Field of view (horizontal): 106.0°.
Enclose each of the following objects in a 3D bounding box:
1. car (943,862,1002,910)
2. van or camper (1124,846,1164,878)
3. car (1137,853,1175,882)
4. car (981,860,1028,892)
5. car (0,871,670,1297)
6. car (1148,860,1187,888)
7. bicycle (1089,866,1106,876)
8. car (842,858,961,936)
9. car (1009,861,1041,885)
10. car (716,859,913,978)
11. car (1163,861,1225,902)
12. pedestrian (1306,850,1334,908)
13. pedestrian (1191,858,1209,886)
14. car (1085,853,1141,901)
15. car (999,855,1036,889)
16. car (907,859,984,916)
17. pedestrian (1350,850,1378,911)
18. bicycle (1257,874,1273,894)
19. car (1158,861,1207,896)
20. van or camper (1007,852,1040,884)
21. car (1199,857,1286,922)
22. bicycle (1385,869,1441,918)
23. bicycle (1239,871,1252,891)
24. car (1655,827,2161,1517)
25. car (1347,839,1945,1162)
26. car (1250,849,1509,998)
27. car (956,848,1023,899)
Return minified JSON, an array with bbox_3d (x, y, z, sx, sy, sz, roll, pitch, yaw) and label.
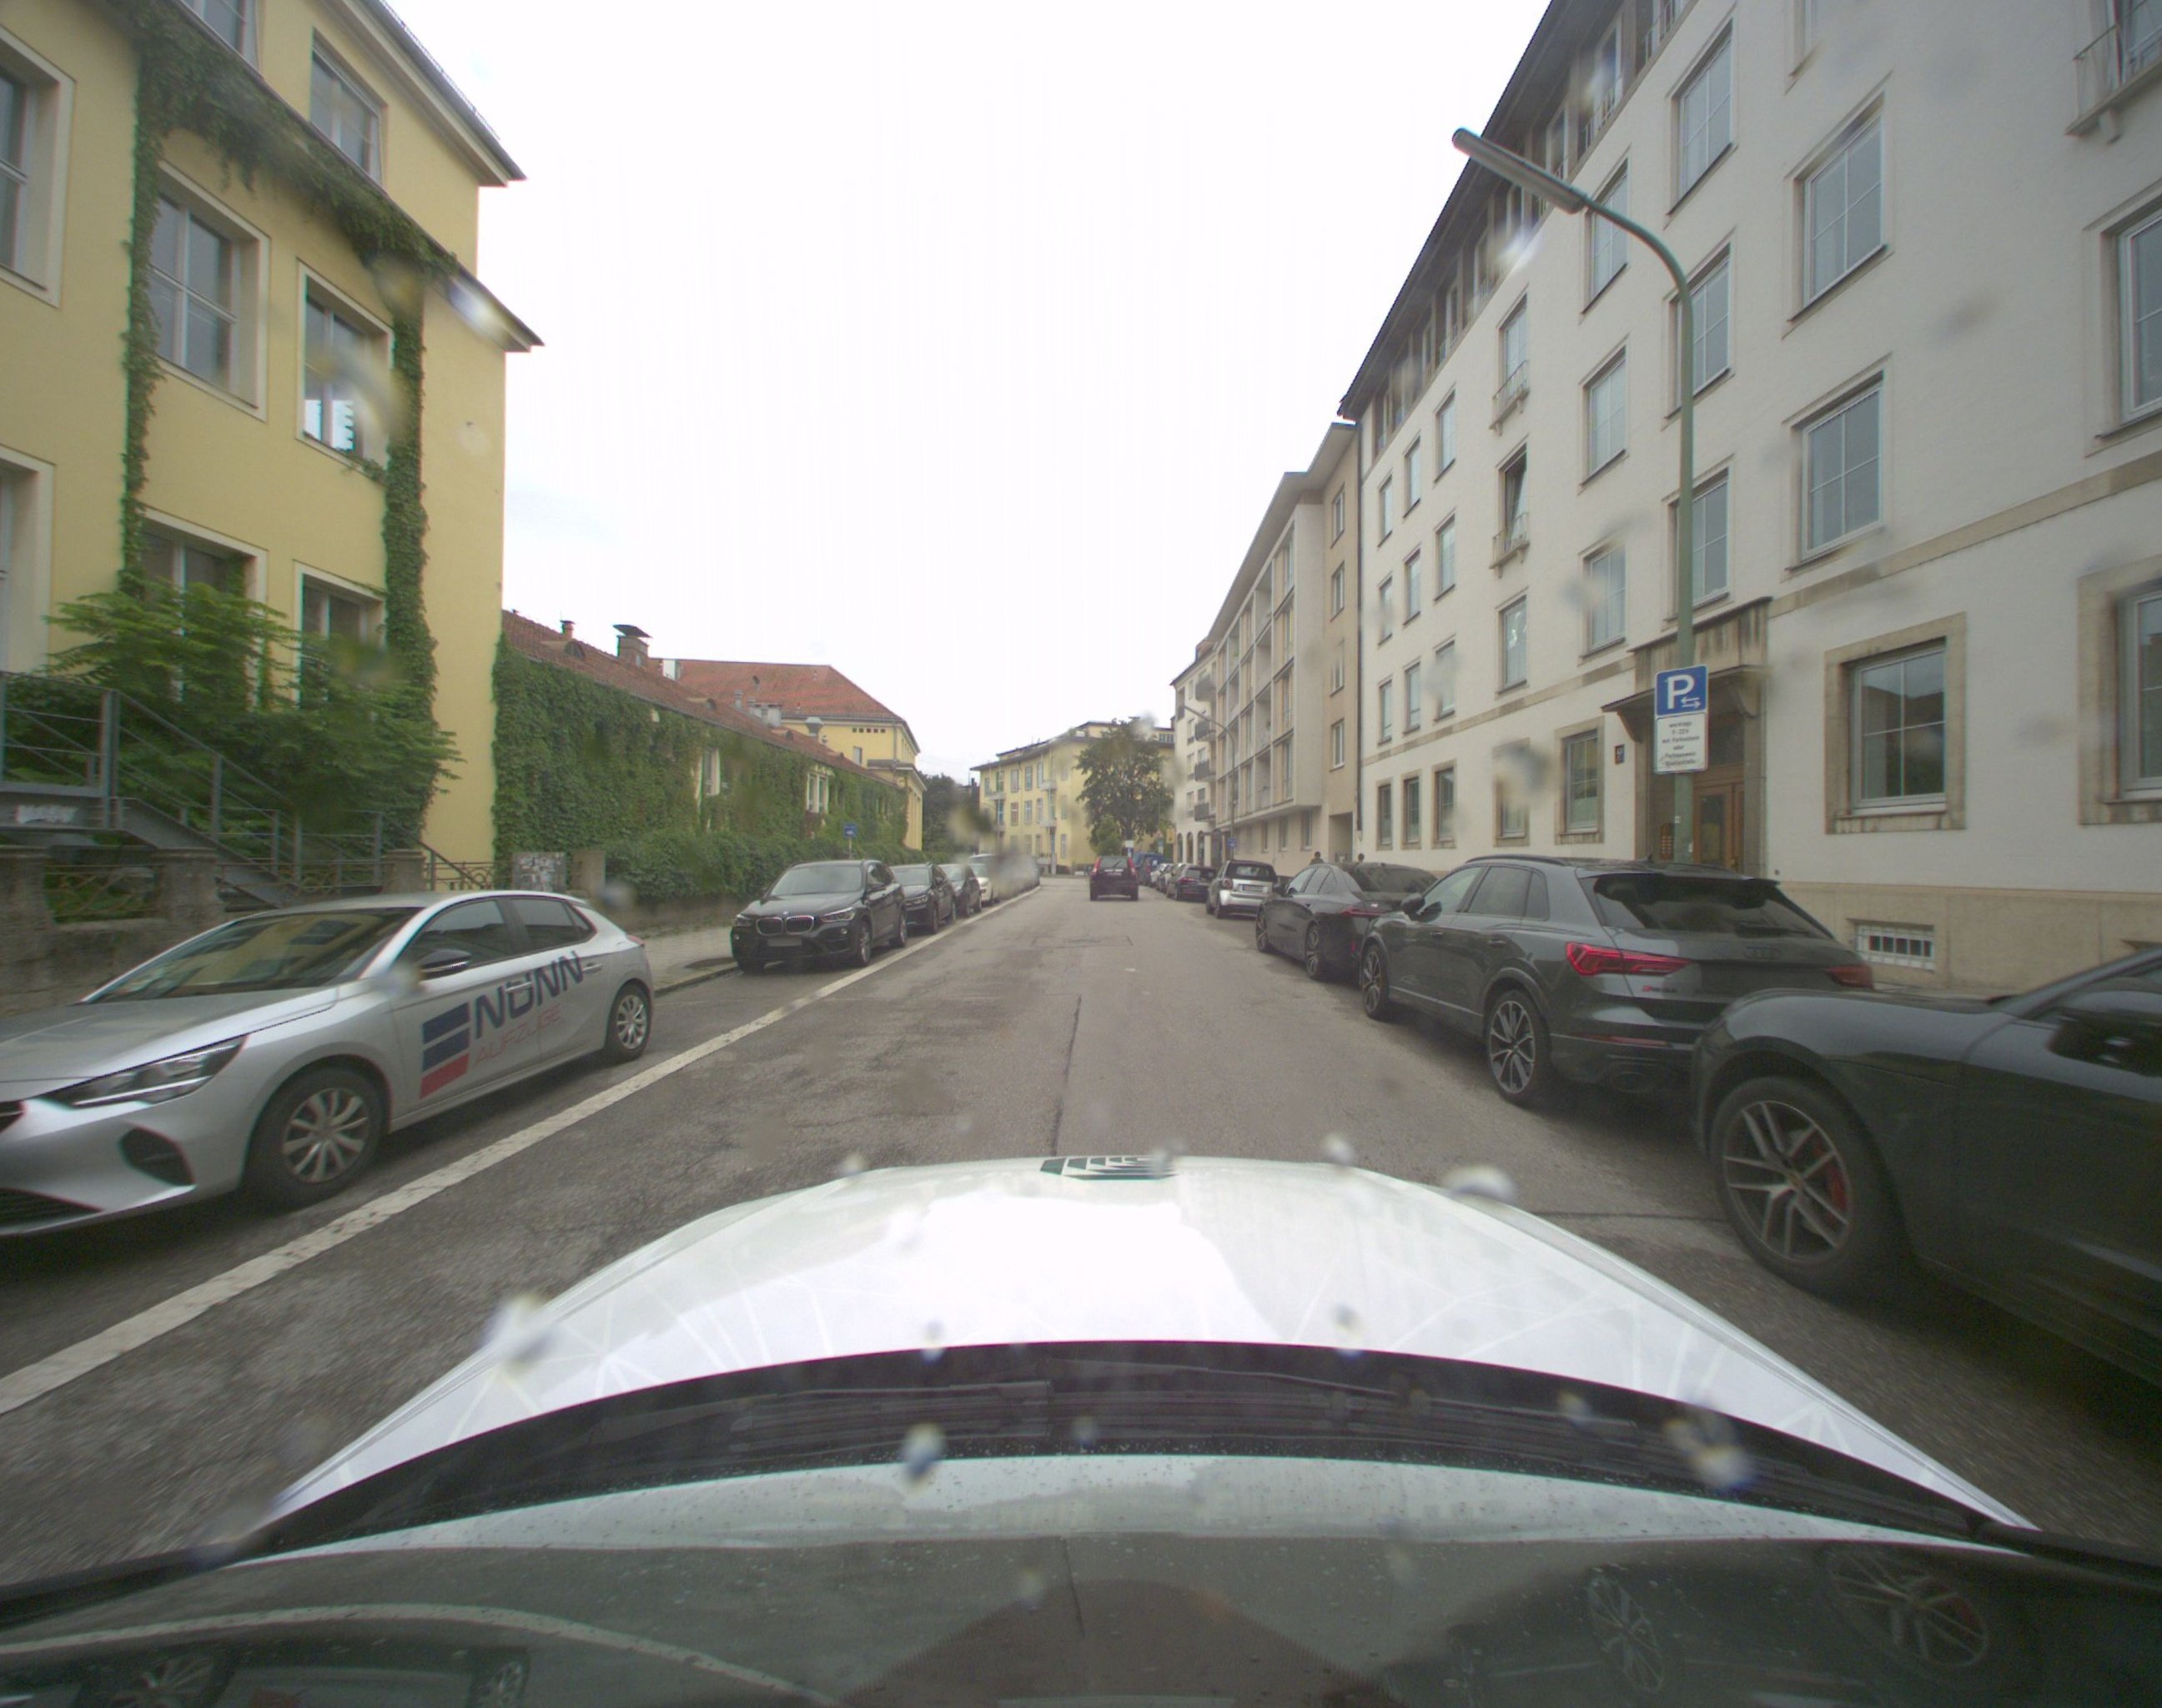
[{"bbox_3d":[-3.744,1.060,28.619,1.574,1.492,3.728,-2,0,-1],"label":"car"},{"bbox_3d":[4.581,0.586,59.771,2.057,2.231,5.429,-1,0,-5],"label":"van or camper"},{"bbox_3d":[4.928,0.839,53.954,1.959,1.816,4.933,0,0,-1],"label":"car"},{"bbox_3d":[-3.620,1.032,39.338,1.695,1.423,4.427,-1,0,2],"label":"car"},{"bbox_3d":[-4.322,0.901,4.845,1.674,1.426,3.894,-4,0,0],"label":"car"},{"bbox_3d":[5.093,1.133,48.443,1.734,1.537,4.271,-1,0,-1],"label":"car"},{"bbox_3d":[1.958,2.036,97.337,2.189,1.117,0.614,0,-1,42],"label":"bicycle"},{"bbox_3d":[-3.882,0.868,18.315,1.776,1.538,4.147,-1,0,-1],"label":"car"},{"bbox_3d":[-3.415,1.144,50.140,1.614,1.378,4.071,-1,0,0],"label":"car"},{"bbox_3d":[-4.000,0.882,13.017,1.776,1.538,4.193,-1,0,-1],"label":"car"},{"bbox_3d":[4.431,1.034,32.505,1.790,1.420,4.481,3,0,0],"label":"car"},{"bbox_3d":[6.917,0.720,23.577,0.594,1.654,0.630,-1,-1,1],"label":"pedestrian"},{"bbox_3d":[7.224,1.088,49.620,0.895,1.688,1.319,0,-1,0],"label":"pedestrian"},{"bbox_3d":[1.304,0.827,31.427,1.986,1.694,4.385,-1,0,4],"label":"car"},{"bbox_3d":[-3.431,0.962,44.718,1.614,1.730,4.424,-1,0,0],"label":"car"},{"bbox_3d":[-3.759,0.890,23.198,1.574,1.455,3.903,-1,0,-1],"label":"car"},{"bbox_3d":[7.550,0.703,21.734,0.529,1.585,0.560,-1,-1,1],"label":"pedestrian"},{"bbox_3d":[8.919,1.427,39.494,0.443,0.936,1.401,-1,-1,1],"label":"bicycle"},{"bbox_3d":[4.714,1.103,38.361,1.733,1.499,4.218,1,0,0],"label":"car"},{"bbox_3d":[-3.809,0.926,54.759,1.955,2.065,4.751,-1,0,-1],"label":"van or camper"},{"bbox_3d":[4.373,0.898,22.538,1.665,1.535,3.882,3,0,2],"label":"car"},{"bbox_3d":[8.445,0.972,20.793,0.656,1.163,2.028,0,0,1],"label":"bicycle"},{"bbox_3d":[8.601,1.419,42.576,0.388,1.024,1.401,-1,-1,1],"label":"bicycle"},{"bbox_3d":[3.371,0.763,1.460,1.771,1.584,4.333,2,0,3],"label":"car"},{"bbox_3d":[3.608,0.757,6.335,1.771,1.584,4.273,2,0,2],"label":"car"},{"bbox_3d":[3.767,0.769,11.321,1.849,1.544,4.816,3,0,1],"label":"car"},{"bbox_3d":[-3.706,0.775,33.666,1.986,1.875,4.760,-3,-1,2],"label":"car"}]
